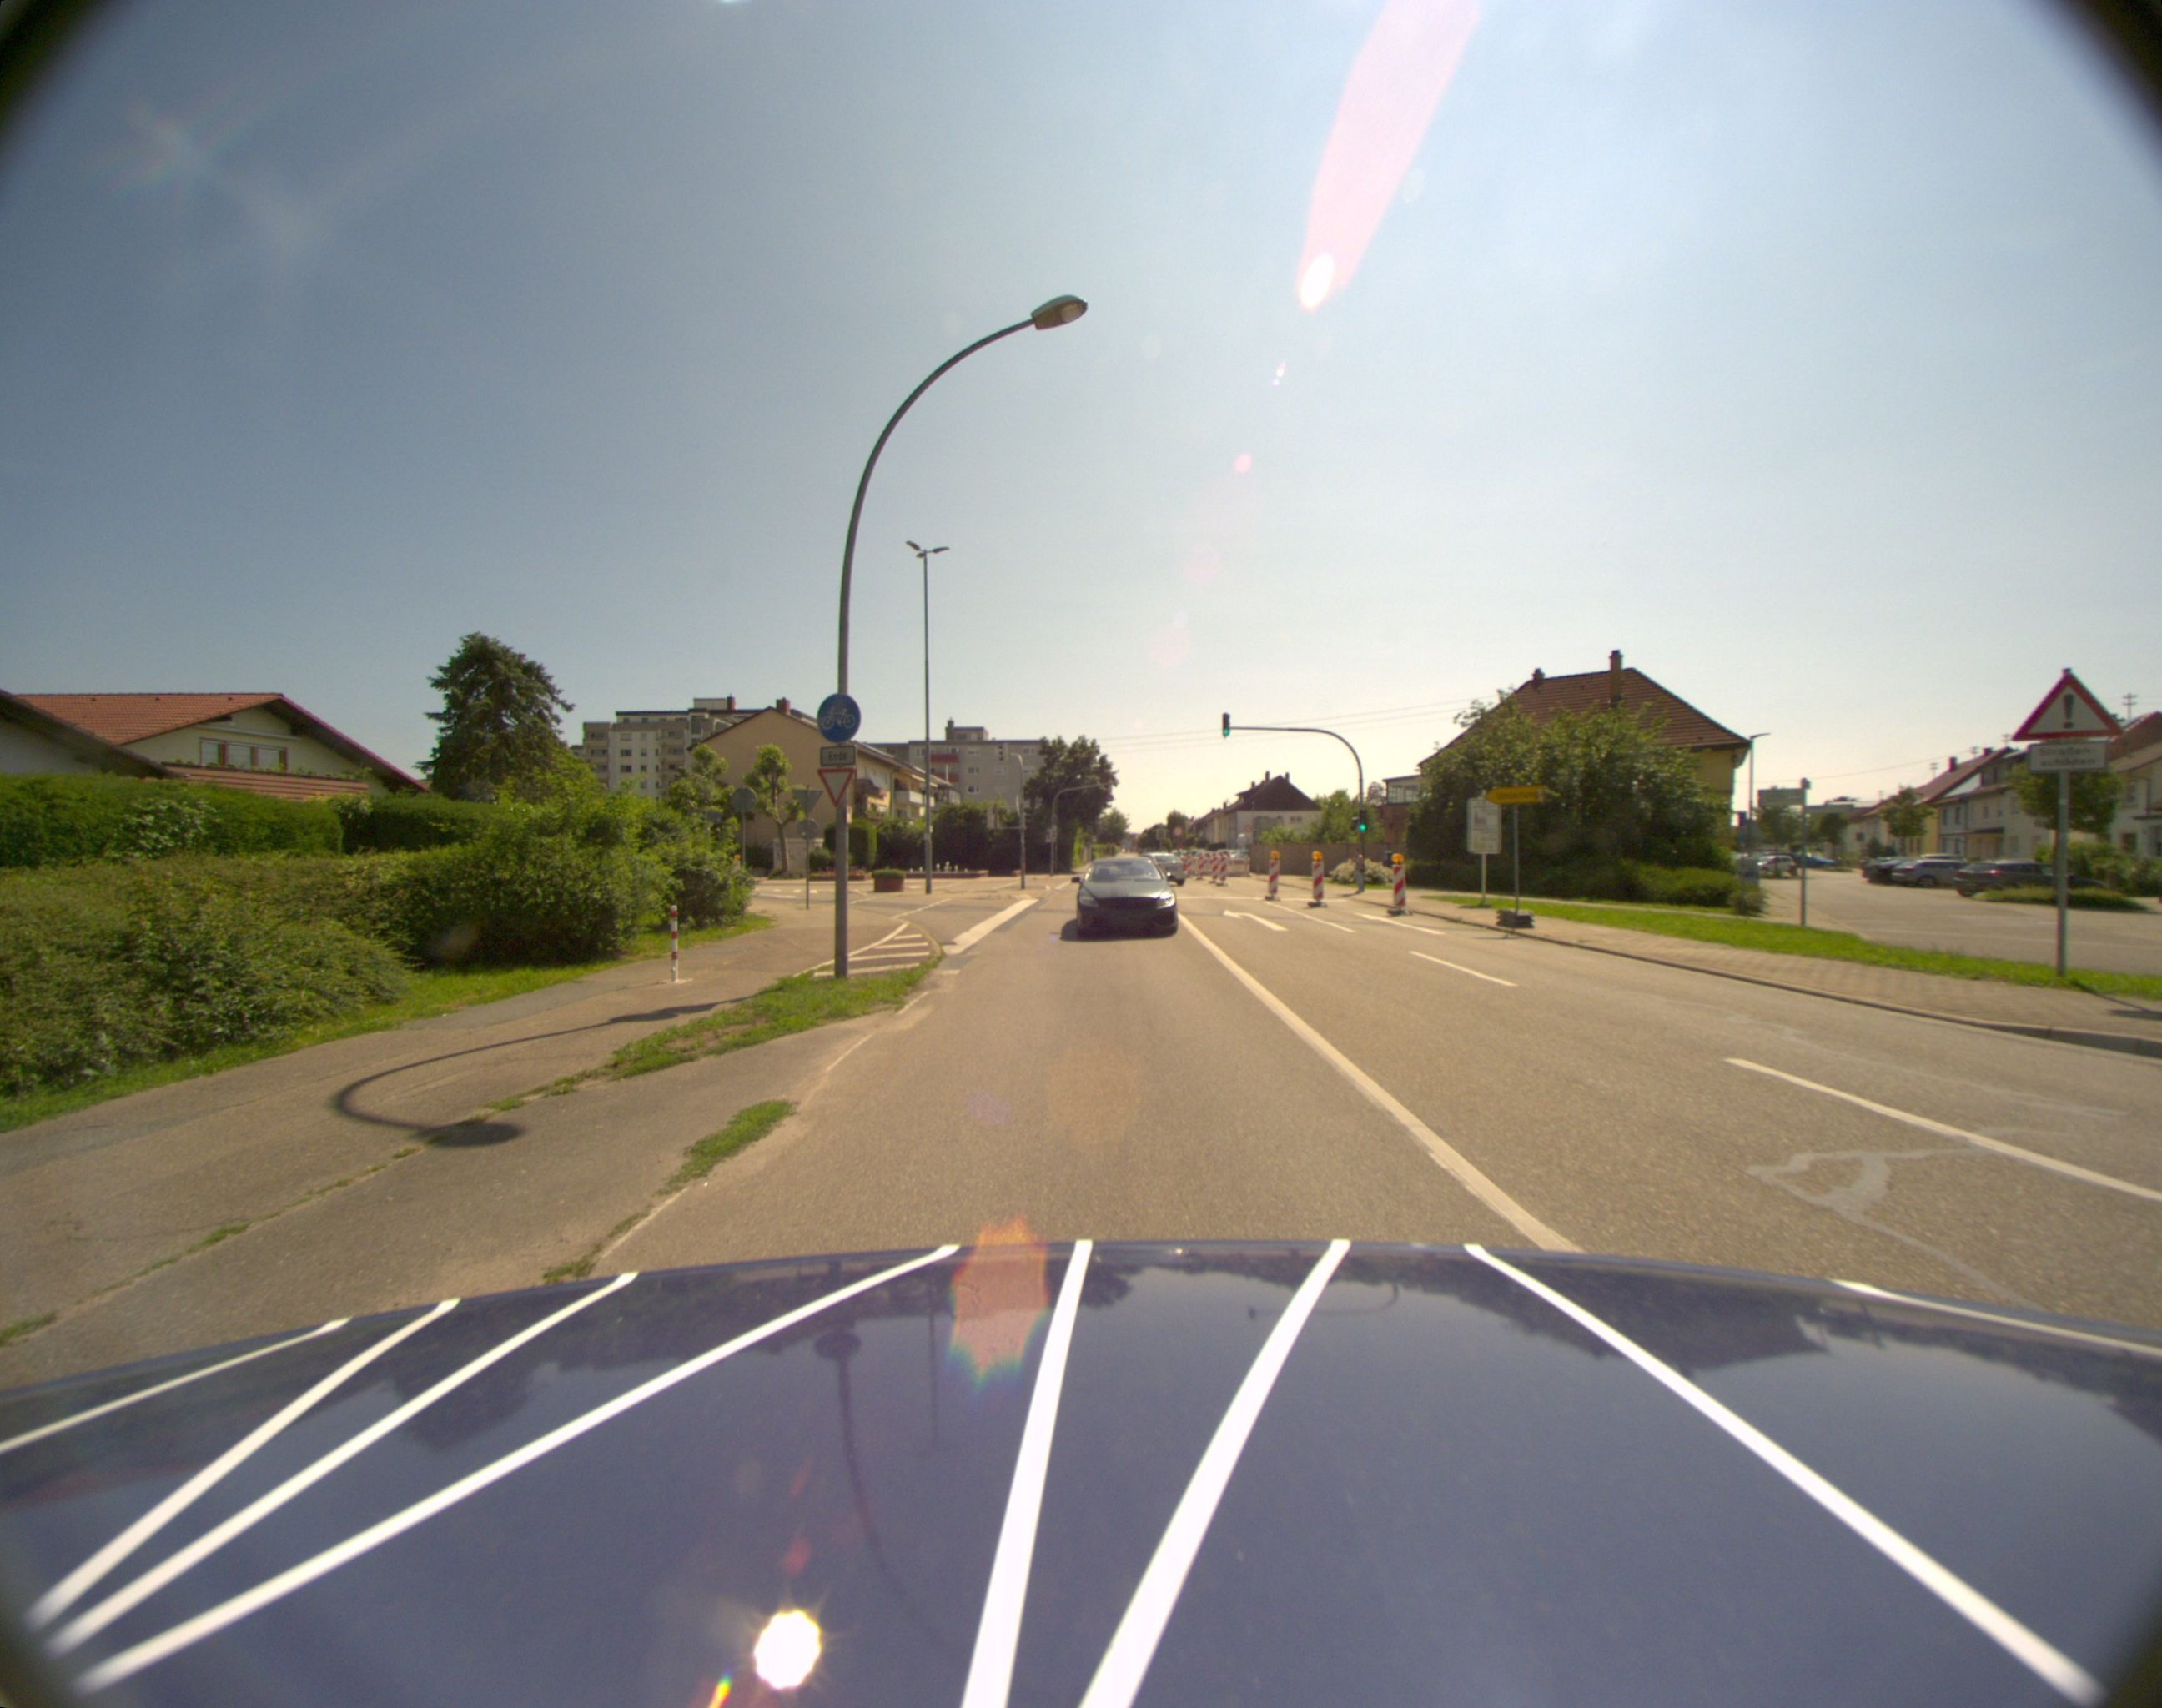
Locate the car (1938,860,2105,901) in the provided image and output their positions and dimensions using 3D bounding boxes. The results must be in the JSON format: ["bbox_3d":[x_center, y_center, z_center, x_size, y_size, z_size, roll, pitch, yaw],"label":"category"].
[{"bbox_3d":[36.589,1.024,29.662,3.995,1.452,1.804,-1,0,7],"label":"car"}]

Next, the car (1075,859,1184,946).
[{"bbox_3d":[0.951,0.873,15.729,1.889,1.429,4.839,-1,0,2],"label":"car"}]

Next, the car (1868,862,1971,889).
[{"bbox_3d":[43.854,1.091,39.814,3.329,1.324,1.424,1,1,32],"label":"car"}]

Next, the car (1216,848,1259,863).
[{"bbox_3d":[15.993,0.140,77.802,3.998,1.607,1.768,0,1,-4],"label":"car"}]

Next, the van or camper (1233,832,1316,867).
[{"bbox_3d":[16.139,-0.365,63.518,6.261,2.828,2.289,0,1,-6],"label":"van or camper"}]

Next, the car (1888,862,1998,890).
[{"bbox_3d":[42.843,1.073,37.875,3.330,1.264,1.424,1,1,30],"label":"car"}]

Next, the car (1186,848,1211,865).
[{"bbox_3d":[11.575,0.192,74.954,1.862,1.581,4.228,1,1,0],"label":"car"}]

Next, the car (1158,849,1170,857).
[{"bbox_3d":[14.907,-0.265,136.423,1.739,1.409,3.916,0,1,0],"label":"car"}]

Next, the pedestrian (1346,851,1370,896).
[{"bbox_3d":[10.233,0.706,28.086,0.615,1.598,0.688,-3,1,3],"label":"pedestrian"}]

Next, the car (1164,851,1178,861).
[{"bbox_3d":[13.809,0.275,116.798,1.739,1.504,3.916,0,1,0],"label":"car"}]

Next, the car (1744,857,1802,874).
[{"bbox_3d":[57.548,0.954,63.241,3.564,1.405,1.381,1,1,-1],"label":"car"}]

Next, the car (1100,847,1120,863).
[{"bbox_3d":[2.974,0.079,79.176,1.872,1.586,4.616,0,0,0],"label":"car"}]

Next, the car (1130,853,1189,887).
[{"bbox_3d":[3.440,0.682,33.847,1.705,1.395,3.976,0,1,-8],"label":"car"}]
